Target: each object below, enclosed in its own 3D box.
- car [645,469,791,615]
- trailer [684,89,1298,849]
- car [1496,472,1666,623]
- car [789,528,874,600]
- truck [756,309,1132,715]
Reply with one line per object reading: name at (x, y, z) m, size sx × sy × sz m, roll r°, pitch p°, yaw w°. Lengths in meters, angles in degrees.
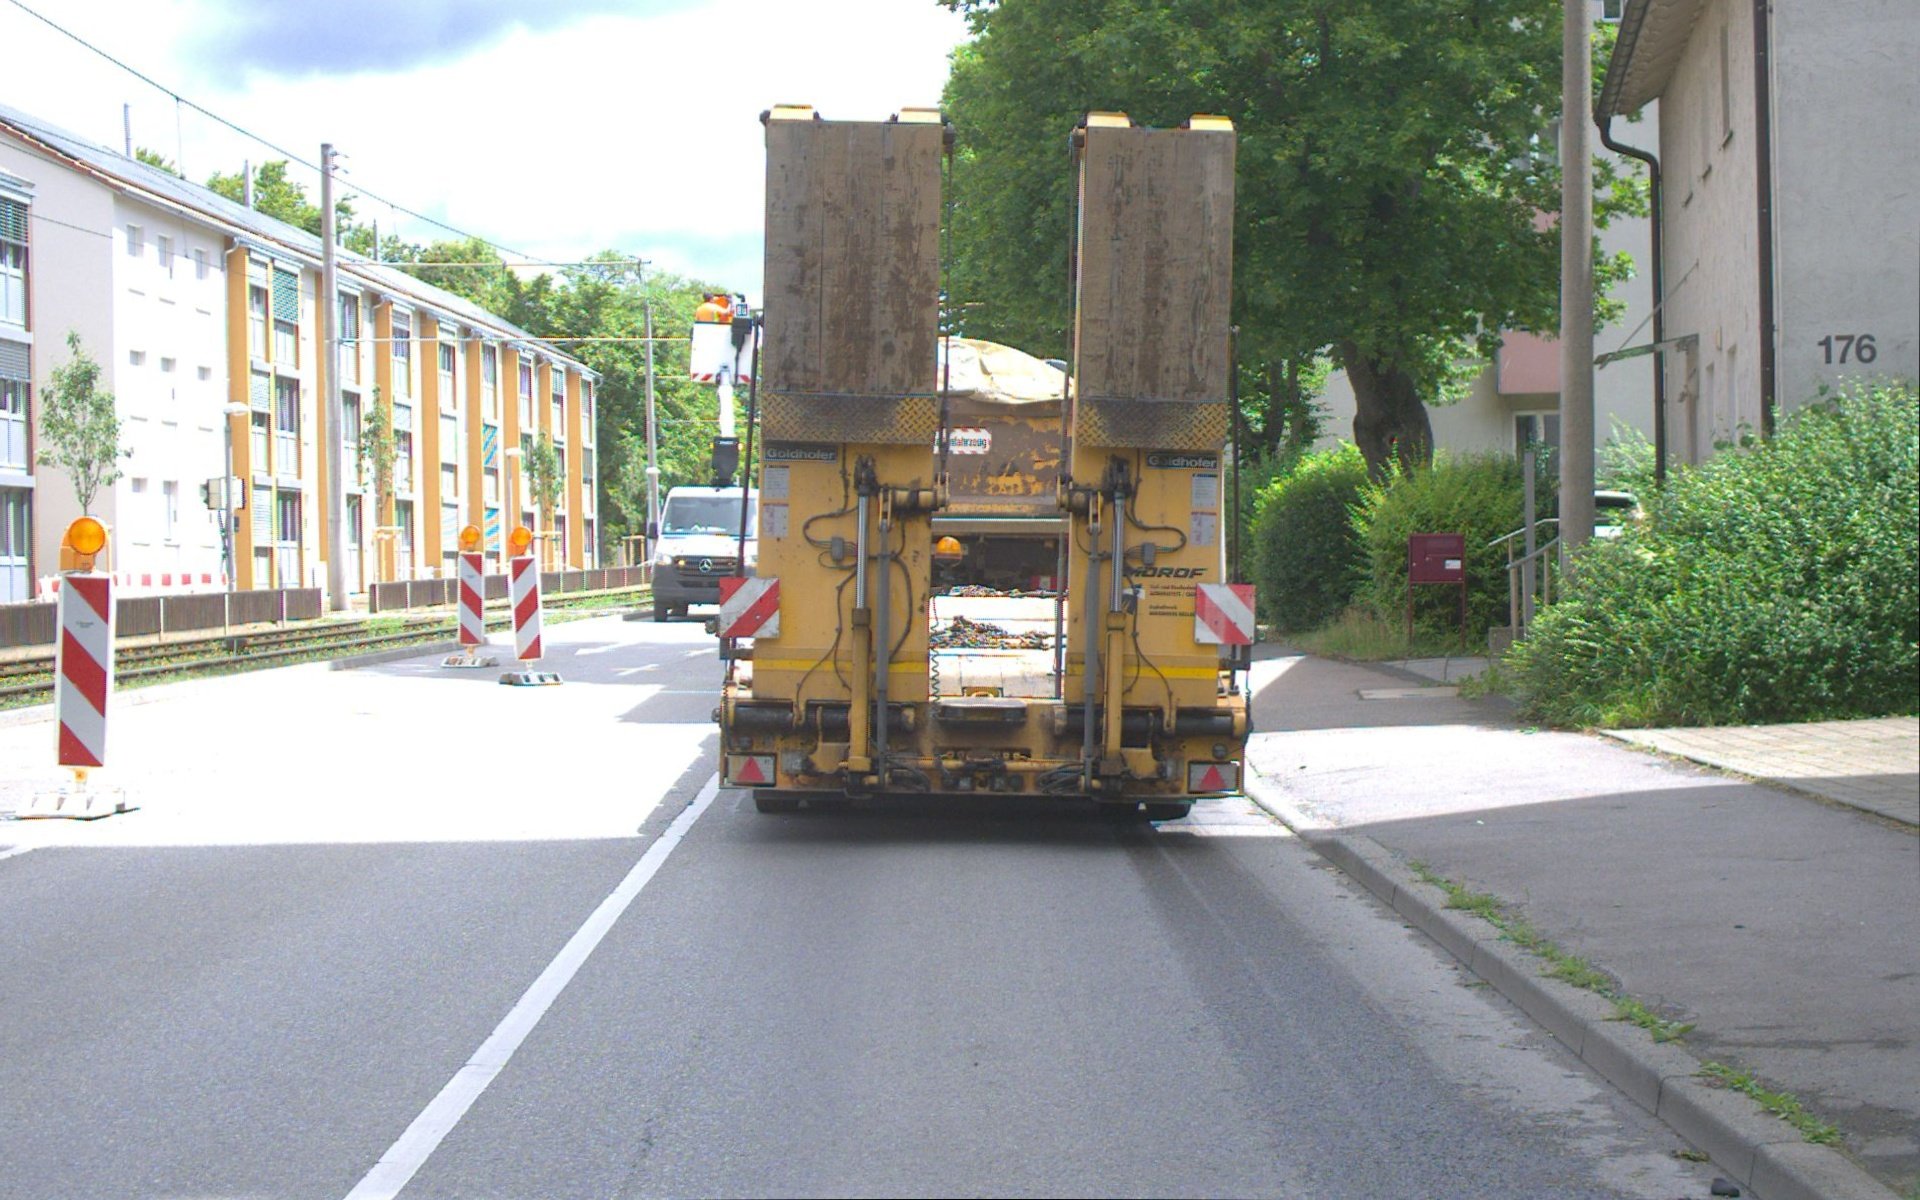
car at (-4.219, -1.031, 60.759) m, size 1.993 × 2.422 × 6.322 m, roll 0°, pitch 1°, yaw 1°
trailer at (0.001, -0.713, 21.648) m, size 2.822 × 3.512 × 11.053 m, roll 1°, pitch 1°, yaw -1°
car at (7.278, -0.620, 40.559) m, size 1.812 × 1.644 × 3.999 m, roll -2°, pitch 1°, yaw 9°
car at (-2.863, -0.823, 77.242) m, size 1.718 × 1.547 × 3.917 m, roll 1°, pitch 1°, yaw 0°
truck at (-0.243, -0.770, 31.010) m, size 2.917 × 3.156 × 7.681 m, roll 1°, pitch 1°, yaw -2°
